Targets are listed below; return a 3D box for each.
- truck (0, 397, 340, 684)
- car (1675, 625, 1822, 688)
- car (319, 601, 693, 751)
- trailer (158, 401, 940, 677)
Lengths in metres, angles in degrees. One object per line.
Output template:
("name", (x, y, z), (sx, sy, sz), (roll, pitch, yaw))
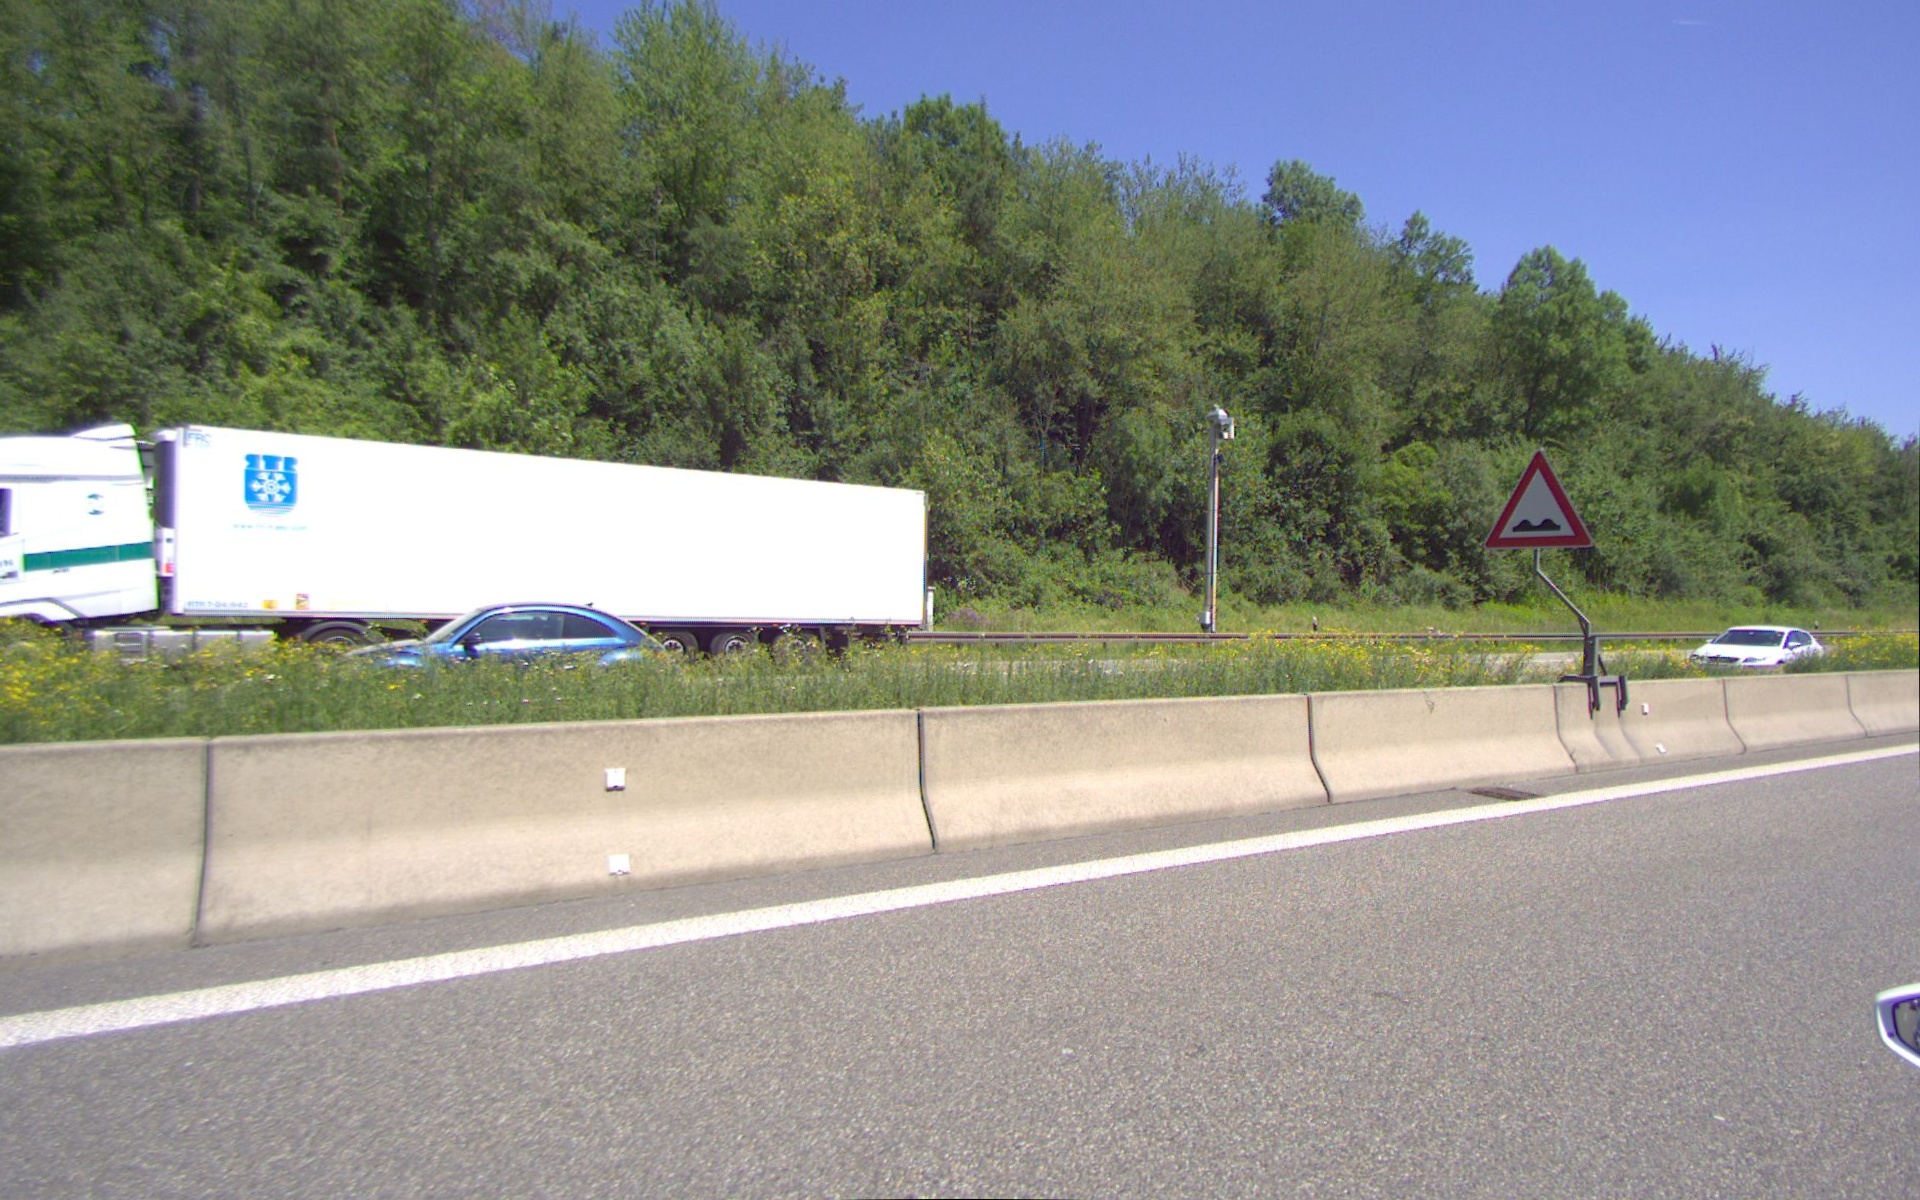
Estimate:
("truck", (-13.315, -0.818, 16.486), (5.143, 4.144, 2.676), (2, -1, -31))
("car", (19.573, 1.358, 24.905), (4.093, 1.405, 1.614), (1, 0, -33))
("car", (-5.599, 0.879, 12.589), (3.953, 1.593, 1.984), (2, -1, -30))
("trailer", (-7.073, -0.722, 20.212), (13.772, 4.263, 2.701), (2, -1, -31))
